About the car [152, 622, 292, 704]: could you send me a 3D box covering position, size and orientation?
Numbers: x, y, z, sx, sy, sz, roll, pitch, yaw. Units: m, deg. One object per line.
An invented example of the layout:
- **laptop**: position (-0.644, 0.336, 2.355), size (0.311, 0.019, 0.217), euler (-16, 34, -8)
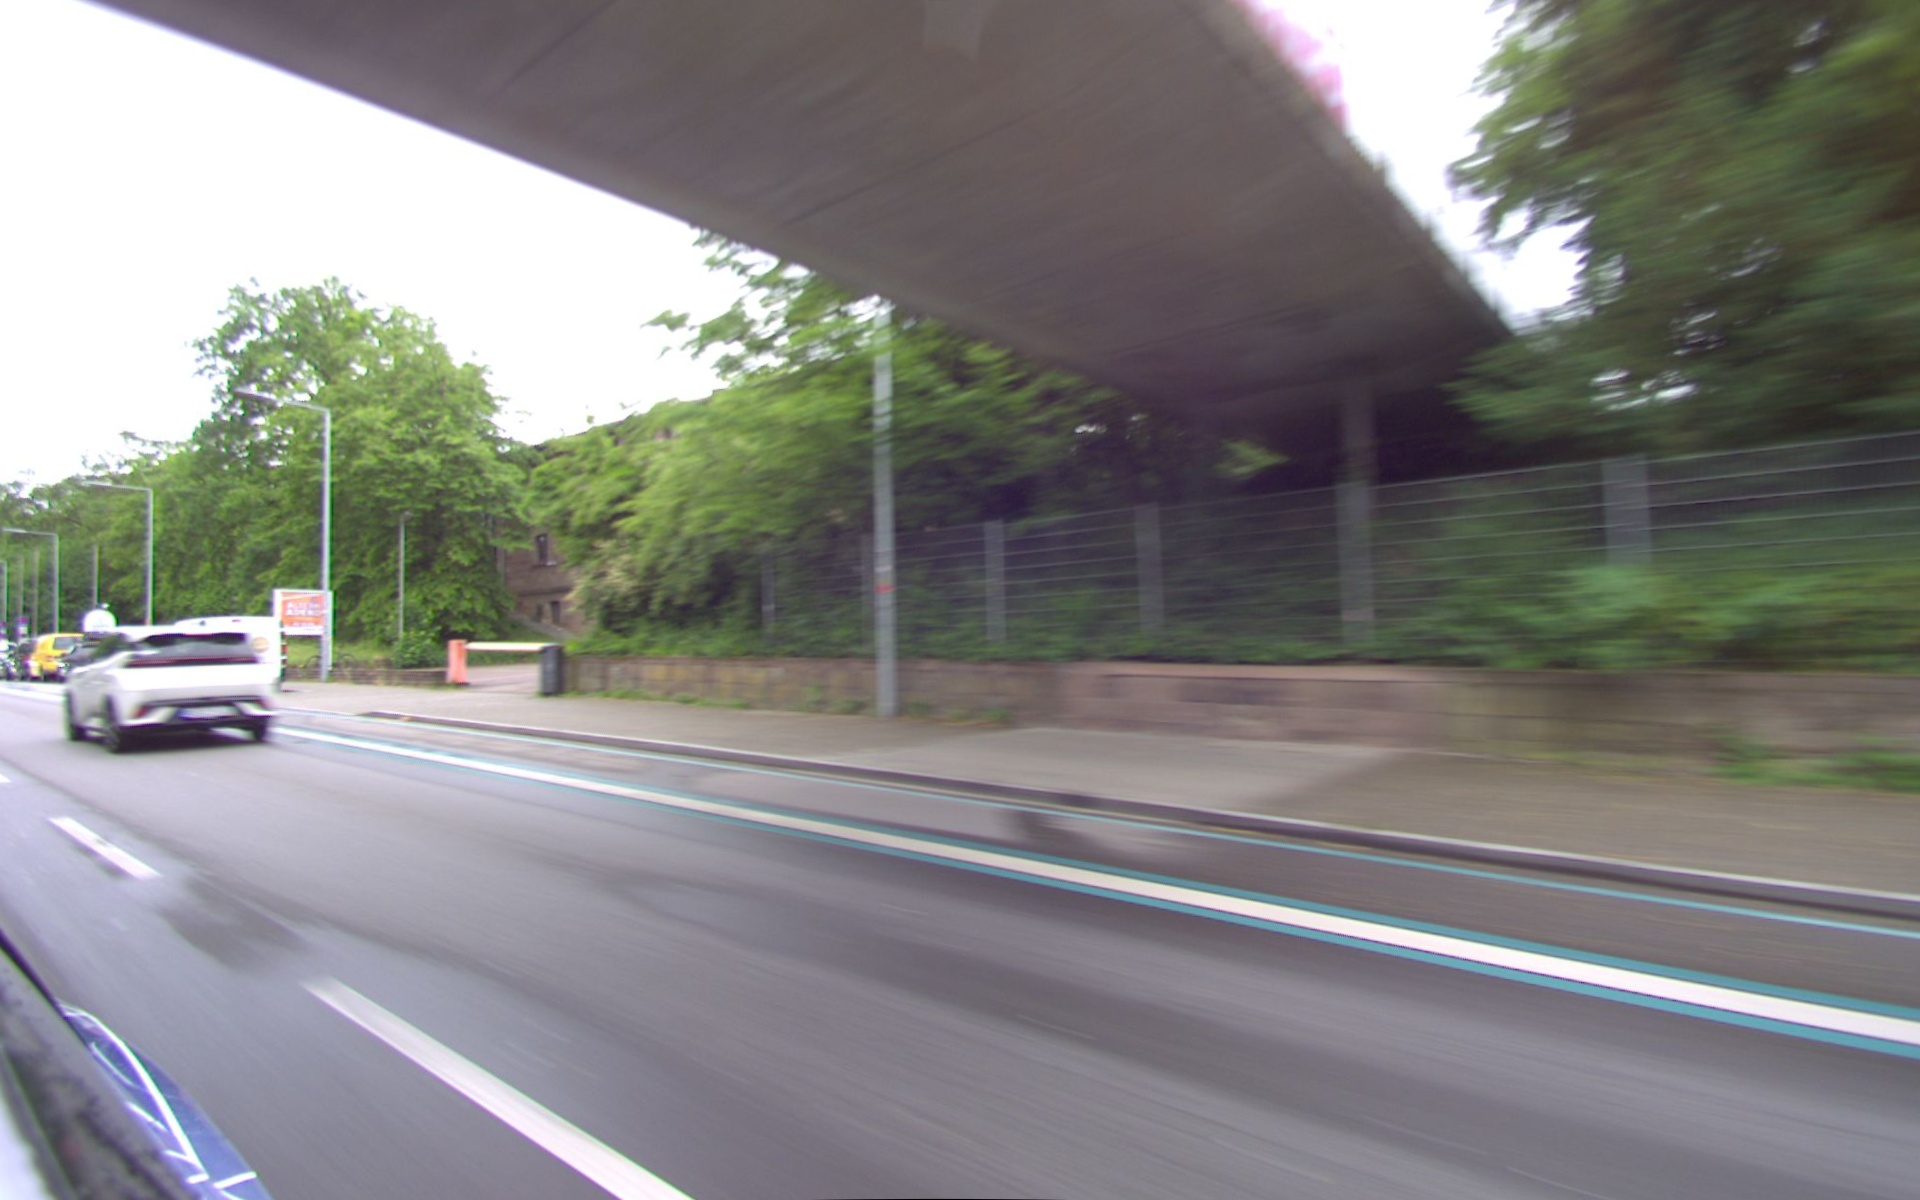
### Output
- **car**: position (-19.284, 1.630, 26.355), size (5.226, 1.929, 1.957), euler (-4, -4, 43)

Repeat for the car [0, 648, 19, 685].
- **car**: position (-54.466, 3.748, 56.678), size (4.729, 1.992, 1.854), euler (-4, -5, 39)

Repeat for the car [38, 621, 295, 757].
- **car**: position (-10.711, 1.088, 13.588), size (3.866, 1.564, 1.952), euler (-2, -2, 40)

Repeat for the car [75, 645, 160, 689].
- **car**: position (-29.756, 2.371, 35.698), size (4.034, 1.457, 1.591), euler (-4, -5, 40)

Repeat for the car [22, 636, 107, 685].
- **car**: position (-37.523, 2.550, 42.366), size (4.840, 1.928, 1.973), euler (-4, -4, 40)

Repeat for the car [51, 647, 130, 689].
- **car**: position (-33.295, 2.610, 38.714), size (4.148, 1.516, 1.691), euler (-4, -5, 41)

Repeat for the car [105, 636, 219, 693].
- **car**: position (-24.826, 2.009, 31.428), size (4.658, 1.628, 1.806), euler (-4, -5, 40)

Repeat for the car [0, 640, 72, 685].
- **car**: position (-42.277, 2.861, 46.147), size (5.199, 1.935, 1.858), euler (-4, -5, 40)
